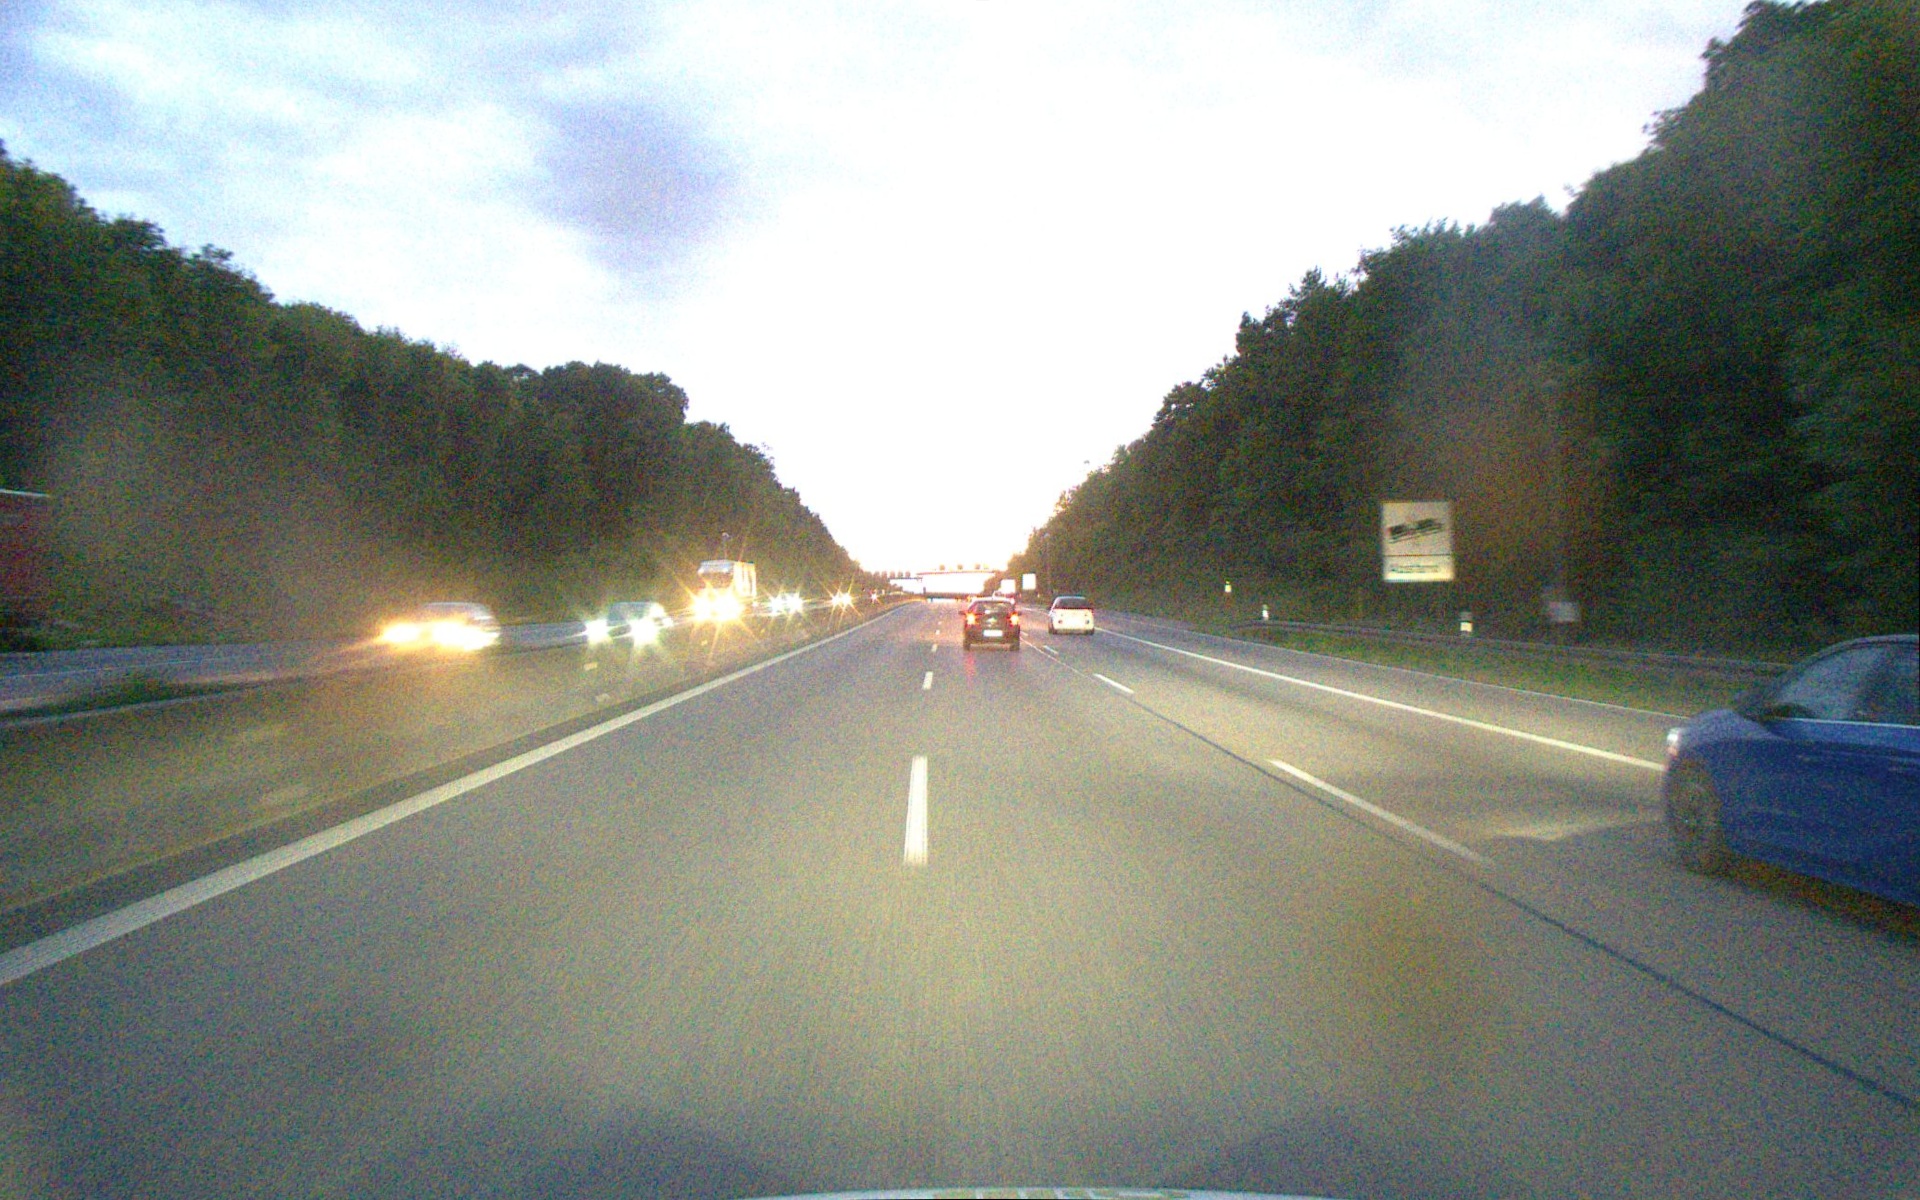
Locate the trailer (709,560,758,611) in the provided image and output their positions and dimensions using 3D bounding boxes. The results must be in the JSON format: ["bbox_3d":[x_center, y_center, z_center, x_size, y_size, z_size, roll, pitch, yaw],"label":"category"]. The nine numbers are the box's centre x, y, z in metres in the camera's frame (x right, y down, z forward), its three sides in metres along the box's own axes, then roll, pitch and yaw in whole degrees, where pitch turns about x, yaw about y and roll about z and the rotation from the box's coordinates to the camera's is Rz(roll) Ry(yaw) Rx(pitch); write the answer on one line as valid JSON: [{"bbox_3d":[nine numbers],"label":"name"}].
[{"bbox_3d":[-18.390,-1.180,134.903,2.592,3.999,10.185,0,0,0],"label":"trailer"}]

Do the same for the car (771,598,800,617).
[{"bbox_3d":[-14.394,0.594,136.802,1.871,1.477,5.354,0,0,0],"label":"car"}]

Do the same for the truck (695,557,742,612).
[{"bbox_3d":[-18.394,-1.150,126.262,2.592,4.041,7.121,0,0,0],"label":"truck"}]

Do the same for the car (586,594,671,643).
[{"bbox_3d":[-9.967,0.536,50.057,1.813,1.406,4.642,0,0,-3],"label":"car"}]

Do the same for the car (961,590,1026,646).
[{"bbox_3d":[0.930,0.553,48.273,1.669,1.536,4.230,1,-1,-2],"label":"car"}]

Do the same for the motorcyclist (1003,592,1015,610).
[{"bbox_3d":[3.677,0.076,124.135,0.813,1.314,1.190,0,-1,-1],"label":"motorcyclist"}]

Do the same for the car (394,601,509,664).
[{"bbox_3d":[-13.118,0.791,42.921,1.652,1.542,4.414,0,0,-1],"label":"car"}]

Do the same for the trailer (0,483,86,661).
[{"bbox_3d":[-24.222,-0.697,35.613,3.125,4.177,14.183,0,0,0],"label":"trailer"}]

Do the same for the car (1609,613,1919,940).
[{"bbox_3d":[5.208,0.818,8.526,1.827,1.461,4.582,1,0,-1],"label":"car"}]

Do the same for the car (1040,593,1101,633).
[{"bbox_3d":[4.359,0.532,65.856,1.790,1.501,4.394,1,-1,-5],"label":"car"}]

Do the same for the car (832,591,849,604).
[{"bbox_3d":[-15.017,-0.282,208.727,1.842,1.602,4.653,-1,0,-1],"label":"car"}]

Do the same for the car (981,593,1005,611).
[{"bbox_3d":[3.128,0.199,156.554,1.829,1.520,4.394,1,-1,-5],"label":"car"}]
